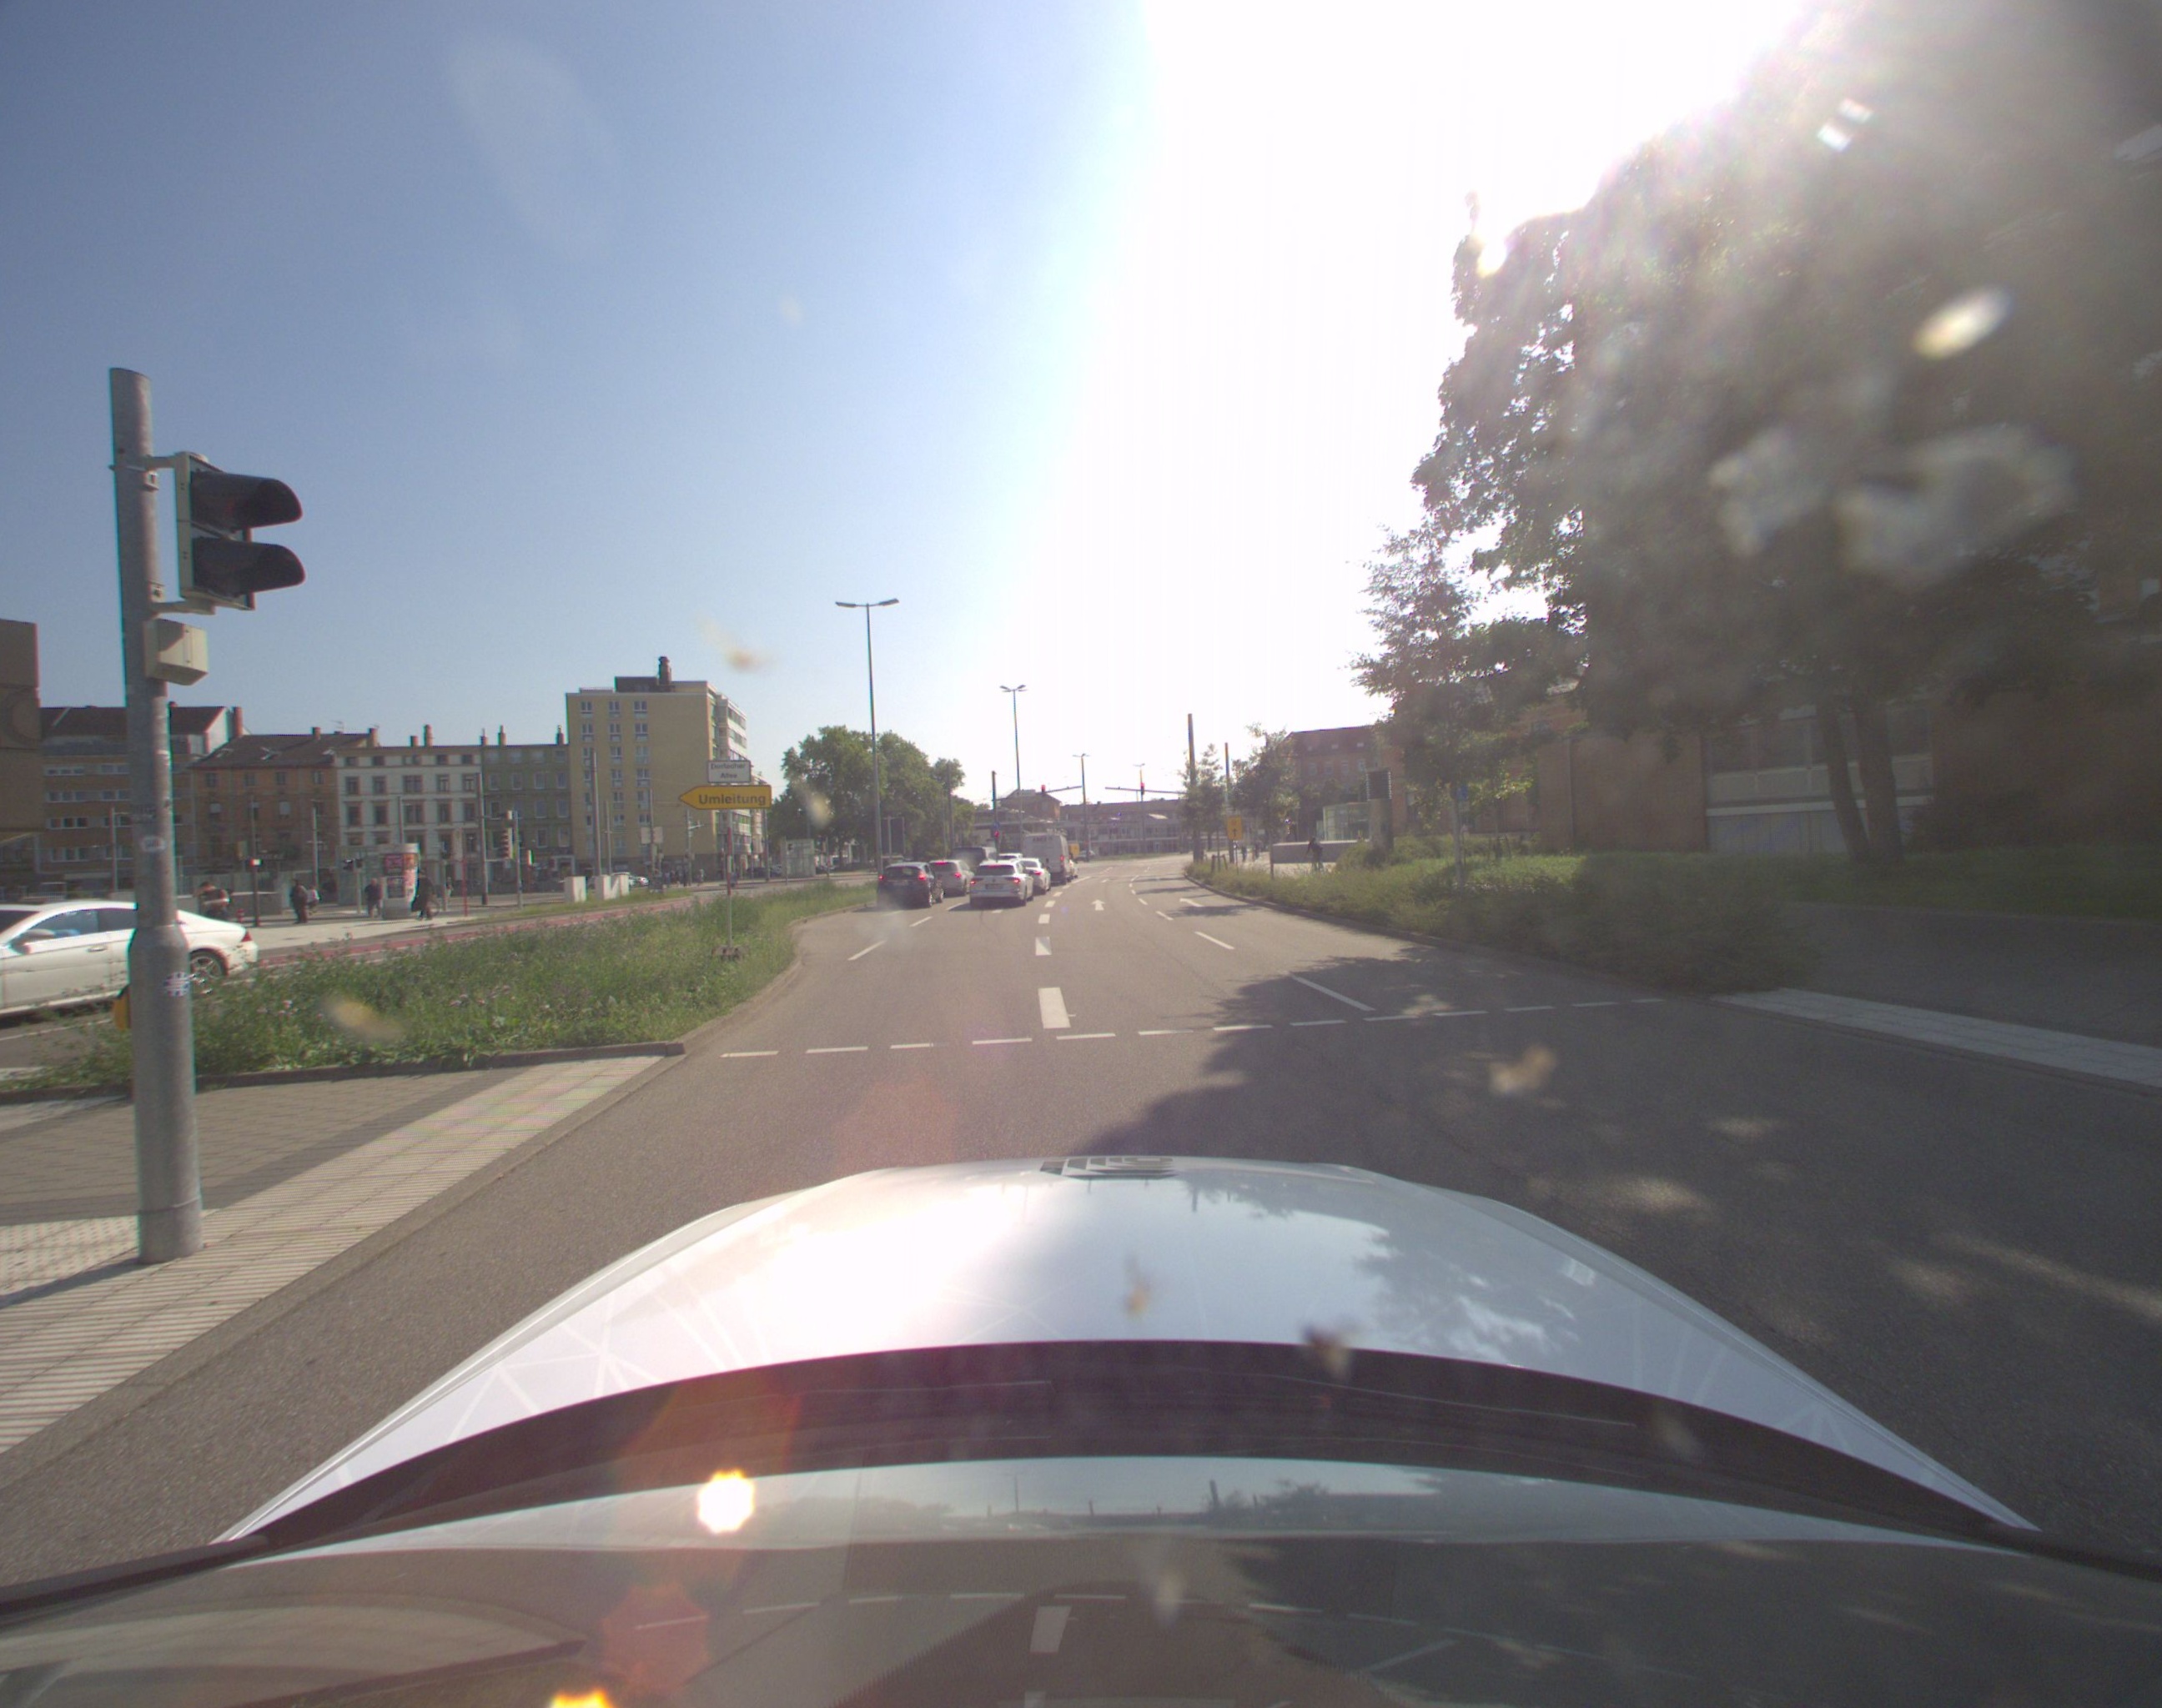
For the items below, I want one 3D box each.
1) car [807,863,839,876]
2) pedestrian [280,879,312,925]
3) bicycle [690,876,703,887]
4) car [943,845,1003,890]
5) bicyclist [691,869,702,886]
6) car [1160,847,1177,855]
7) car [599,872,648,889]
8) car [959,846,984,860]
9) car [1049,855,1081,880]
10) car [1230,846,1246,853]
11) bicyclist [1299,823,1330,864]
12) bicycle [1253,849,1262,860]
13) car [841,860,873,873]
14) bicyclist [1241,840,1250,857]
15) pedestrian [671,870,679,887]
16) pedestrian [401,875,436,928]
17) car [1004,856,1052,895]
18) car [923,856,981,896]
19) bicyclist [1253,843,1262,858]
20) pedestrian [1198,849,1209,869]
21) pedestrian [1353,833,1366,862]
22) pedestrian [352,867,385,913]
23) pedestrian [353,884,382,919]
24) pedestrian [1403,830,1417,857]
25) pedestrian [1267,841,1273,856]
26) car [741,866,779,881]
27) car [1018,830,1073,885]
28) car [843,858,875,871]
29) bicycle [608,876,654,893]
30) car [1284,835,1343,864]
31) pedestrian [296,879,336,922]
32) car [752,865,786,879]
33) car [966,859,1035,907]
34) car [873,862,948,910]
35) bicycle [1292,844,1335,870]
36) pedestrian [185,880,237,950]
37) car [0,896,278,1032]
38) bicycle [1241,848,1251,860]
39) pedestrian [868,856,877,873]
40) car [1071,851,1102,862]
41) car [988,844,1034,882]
[{"bbox_3d":[-35.345,2.107,111.509,3.991,1.557,1.720,-3,0,-13],"label":"car"},{"bbox_3d":[-27.590,1.686,28.635,0.495,1.579,0.508,-2,2,3],"label":"pedestrian"},{"bbox_3d":[-35.116,2.511,74.457,0.729,0.984,1.722,-3,0,-16],"label":"bicycle"},{"bbox_3d":[-5.262,0.633,40.225,2.015,2.008,4.687,-2,0,3],"label":"car"},{"bbox_3d":[-35.136,2.139,74.484,0.727,1.434,0.686,-3,0,-16],"label":"bicyclist"},{"bbox_3d":[16.603,-0.563,153.867,1.975,1.442,4.024,-3,0,25],"label":"car"},{"bbox_3d":[-44.260,2.576,78.813,3.739,1.393,1.581,-3,0,-12],"label":"car"},{"bbox_3d":[-18.423,-0.159,137.340,3.975,2.013,2.000,-2,2,-1],"label":"car"},{"bbox_3d":[-0.929,0.772,49.276,1.630,1.403,3.690,-2,0,3],"label":"car"},{"bbox_3d":[33.873,-1.011,175.239,1.974,1.442,4.026,-3,0,32],"label":"car"},{"bbox_3d":[9.323,-0.425,32.542,0.772,1.578,0.987,-3,0,-10],"label":"bicyclist"},{"bbox_3d":[17.243,0.033,79.453,0.701,1.061,1.990,-3,0,15],"label":"bicycle"},{"bbox_3d":[-30.766,1.682,111.967,3.985,1.618,1.808,-3,0,-8],"label":"car"},{"bbox_3d":[14.723,-0.506,72.973,0.707,1.529,0.810,-3,0,15],"label":"bicyclist"},{"bbox_3d":[-37.336,2.256,74.914,0.435,1.487,0.502,0,3,40],"label":"pedestrian"},{"bbox_3d":[-23.641,1.665,29.068,0.853,1.778,0.866,-4,3,-40],"label":"pedestrian"},{"bbox_3d":[-2.060,0.828,32.639,1.483,1.403,3.944,-2,-1,2],"label":"car"},{"bbox_3d":[-5.165,0.861,32.967,1.482,1.415,3.652,-2,1,4],"label":"car"},{"bbox_3d":[17.221,-0.336,79.442,0.701,1.394,0.833,-3,0,15],"label":"bicyclist"},{"bbox_3d":[8.603,0.362,57.236,0.634,1.362,0.633,-3,0,-2],"label":"pedestrian"},{"bbox_3d":[16.220,-0.397,47.346,0.609,1.639,0.537,-3,0,22],"label":"pedestrian"},{"bbox_3d":[-30.069,1.500,34.361,0.886,1.818,0.886,-4,3,-37],"label":"pedestrian"},{"bbox_3d":[-37.553,2.482,42.874,0.833,1.819,0.775,-2,-2,-12],"label":"pedestrian"},{"bbox_3d":[19.817,-0.636,49.024,0.611,1.628,0.535,-3,0,10],"label":"pedestrian"},{"bbox_3d":[25.590,-0.722,110.353,0.741,2.013,0.810,-3,0,15],"label":"pedestrian"},{"bbox_3d":[-40.090,2.455,101.812,3.989,1.557,1.862,-3,2,-11],"label":"car"},{"bbox_3d":[-1.714,0.201,41.431,2.179,2.549,4.689,-2,-1,4],"label":"car"},{"bbox_3d":[-31.185,1.520,114.449,3.985,1.618,1.808,-3,0,-8],"label":"car"},{"bbox_3d":[-47.683,3.241,86.423,3.992,1.551,1.190,-3,2,-14],"label":"bicycle"},{"bbox_3d":[17.696,-0.359,62.014,3.998,2.013,1.743,-3,3,-18],"label":"car"},{"bbox_3d":[-38.325,2.317,40.824,0.959,2.013,1.018,-3,2,-11],"label":"pedestrian"},{"bbox_3d":[-41.652,2.388,108.851,3.991,1.557,1.861,-3,0,-13],"label":"car"},{"bbox_3d":[-2.497,0.877,26.158,1.678,1.387,3.636,-2,-1,2],"label":"car"},{"bbox_3d":[-5.520,0.983,26.804,1.696,1.368,3.961,-2,0,-1],"label":"car"},{"bbox_3d":[9.316,0.110,32.745,0.772,0.976,2.143,-3,0,-9],"label":"bicycle"},{"bbox_3d":[-22.921,1.596,21.479,0.681,1.759,0.870,-3,0,-32],"label":"pedestrian"},{"bbox_3d":[-12.694,1.284,9.663,1.839,1.361,4.810,-1,-1,-5],"label":"car"},{"bbox_3d":[14.748,0.001,72.974,0.701,1.061,1.990,-3,0,15],"label":"bicycle"},{"bbox_3d":[-25.452,1.318,99.410,0.822,2.013,0.507,-3,0,-10],"label":"pedestrian"},{"bbox_3d":[0.734,0.352,110.049,3.958,1.342,1.927,-3,0,-4],"label":"car"},{"bbox_3d":[-4.070,0.504,48.118,2.015,2.008,4.687,-2,0,3],"label":"car"}]
